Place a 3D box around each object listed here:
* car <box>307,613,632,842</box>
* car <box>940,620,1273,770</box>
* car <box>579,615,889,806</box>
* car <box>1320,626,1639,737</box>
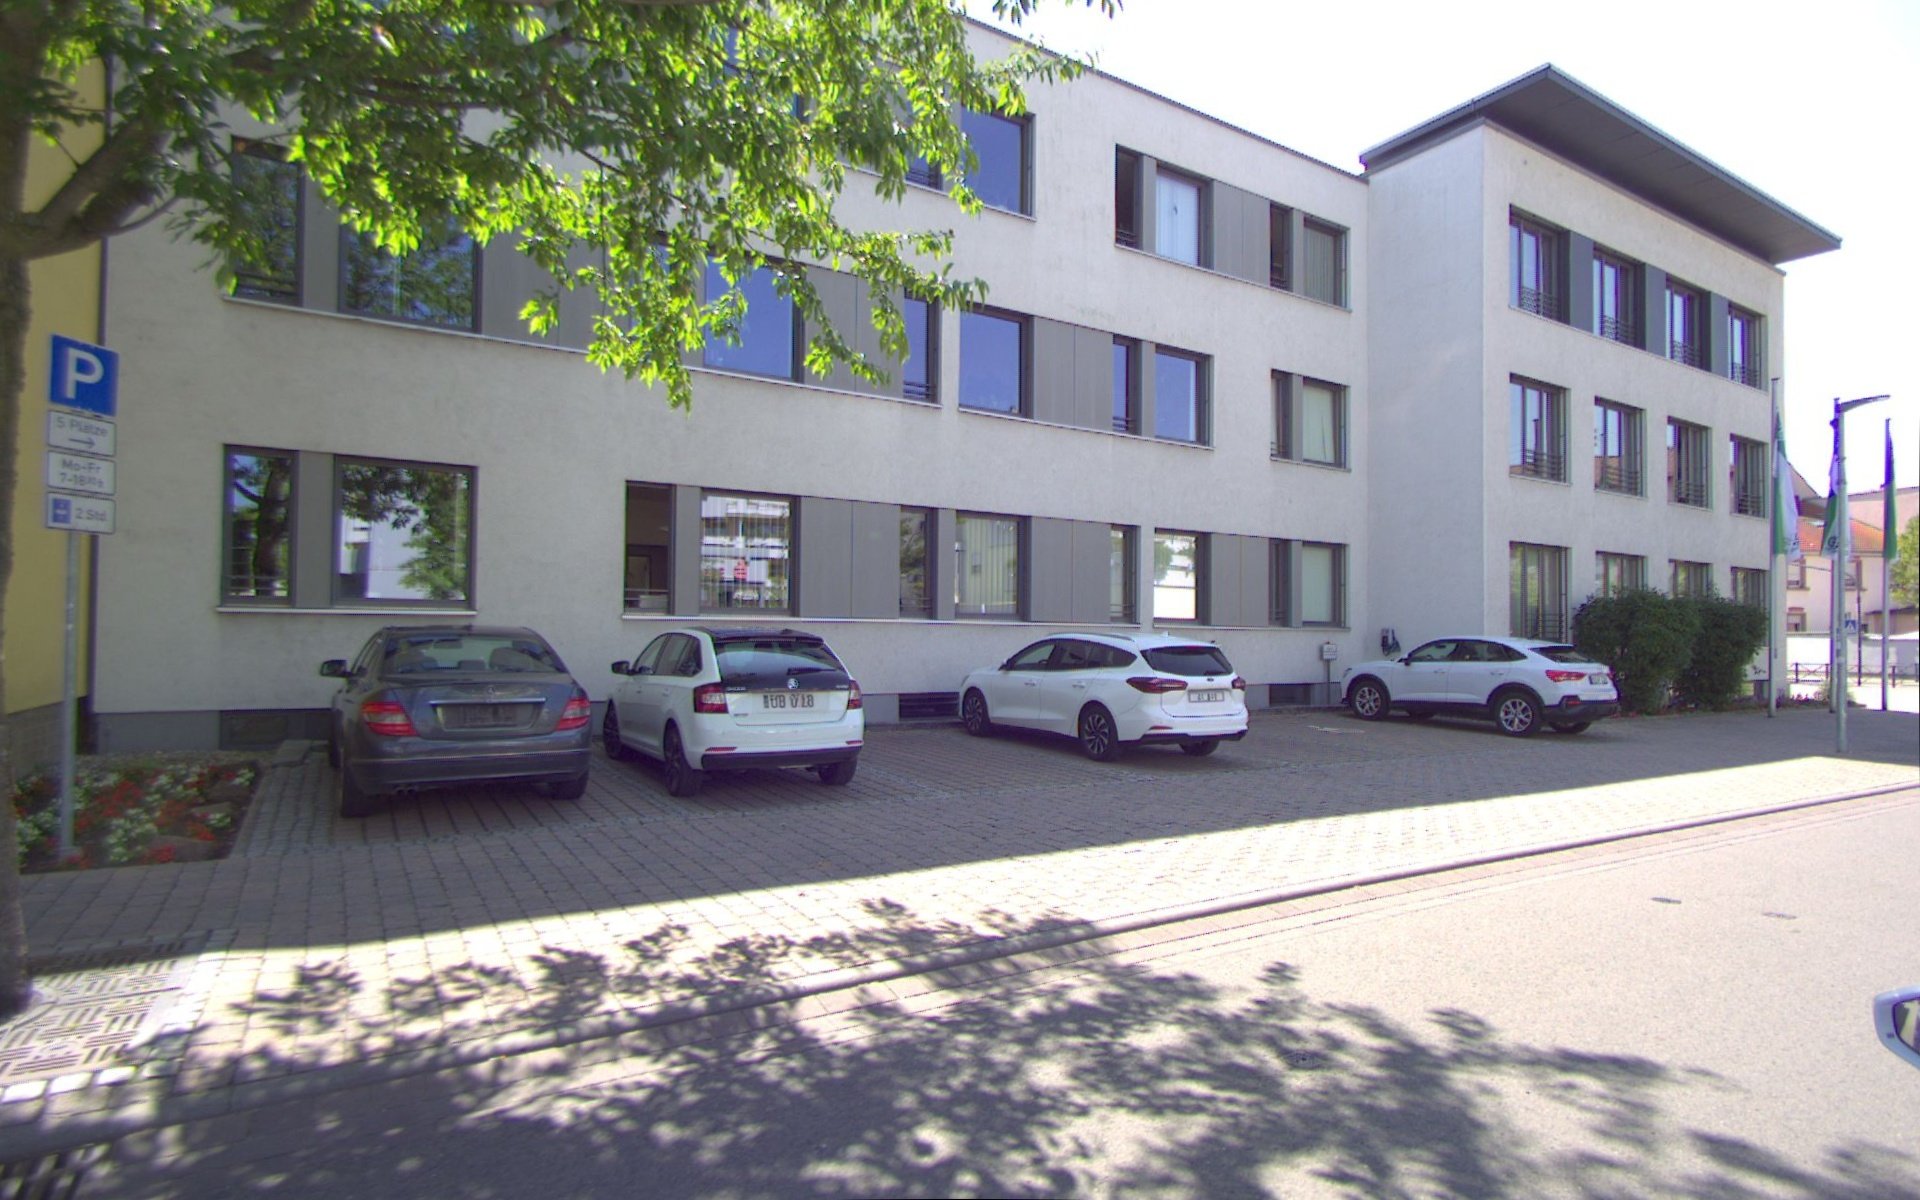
[{"bbox_3d":[-4.439,0.873,8.739,1.953,1.450,3.961,1,-1,-35],"label":"car"},{"bbox_3d":[1.682,1.069,13.094,1.913,1.574,4.481,1,-1,-31],"label":"car"},{"bbox_3d":[-2.447,0.911,10.072,1.788,1.470,3.964,1,-1,-33],"label":"car"},{"bbox_3d":[8.801,1.298,17.425,2.124,1.574,4.481,2,-1,-32],"label":"car"}]
